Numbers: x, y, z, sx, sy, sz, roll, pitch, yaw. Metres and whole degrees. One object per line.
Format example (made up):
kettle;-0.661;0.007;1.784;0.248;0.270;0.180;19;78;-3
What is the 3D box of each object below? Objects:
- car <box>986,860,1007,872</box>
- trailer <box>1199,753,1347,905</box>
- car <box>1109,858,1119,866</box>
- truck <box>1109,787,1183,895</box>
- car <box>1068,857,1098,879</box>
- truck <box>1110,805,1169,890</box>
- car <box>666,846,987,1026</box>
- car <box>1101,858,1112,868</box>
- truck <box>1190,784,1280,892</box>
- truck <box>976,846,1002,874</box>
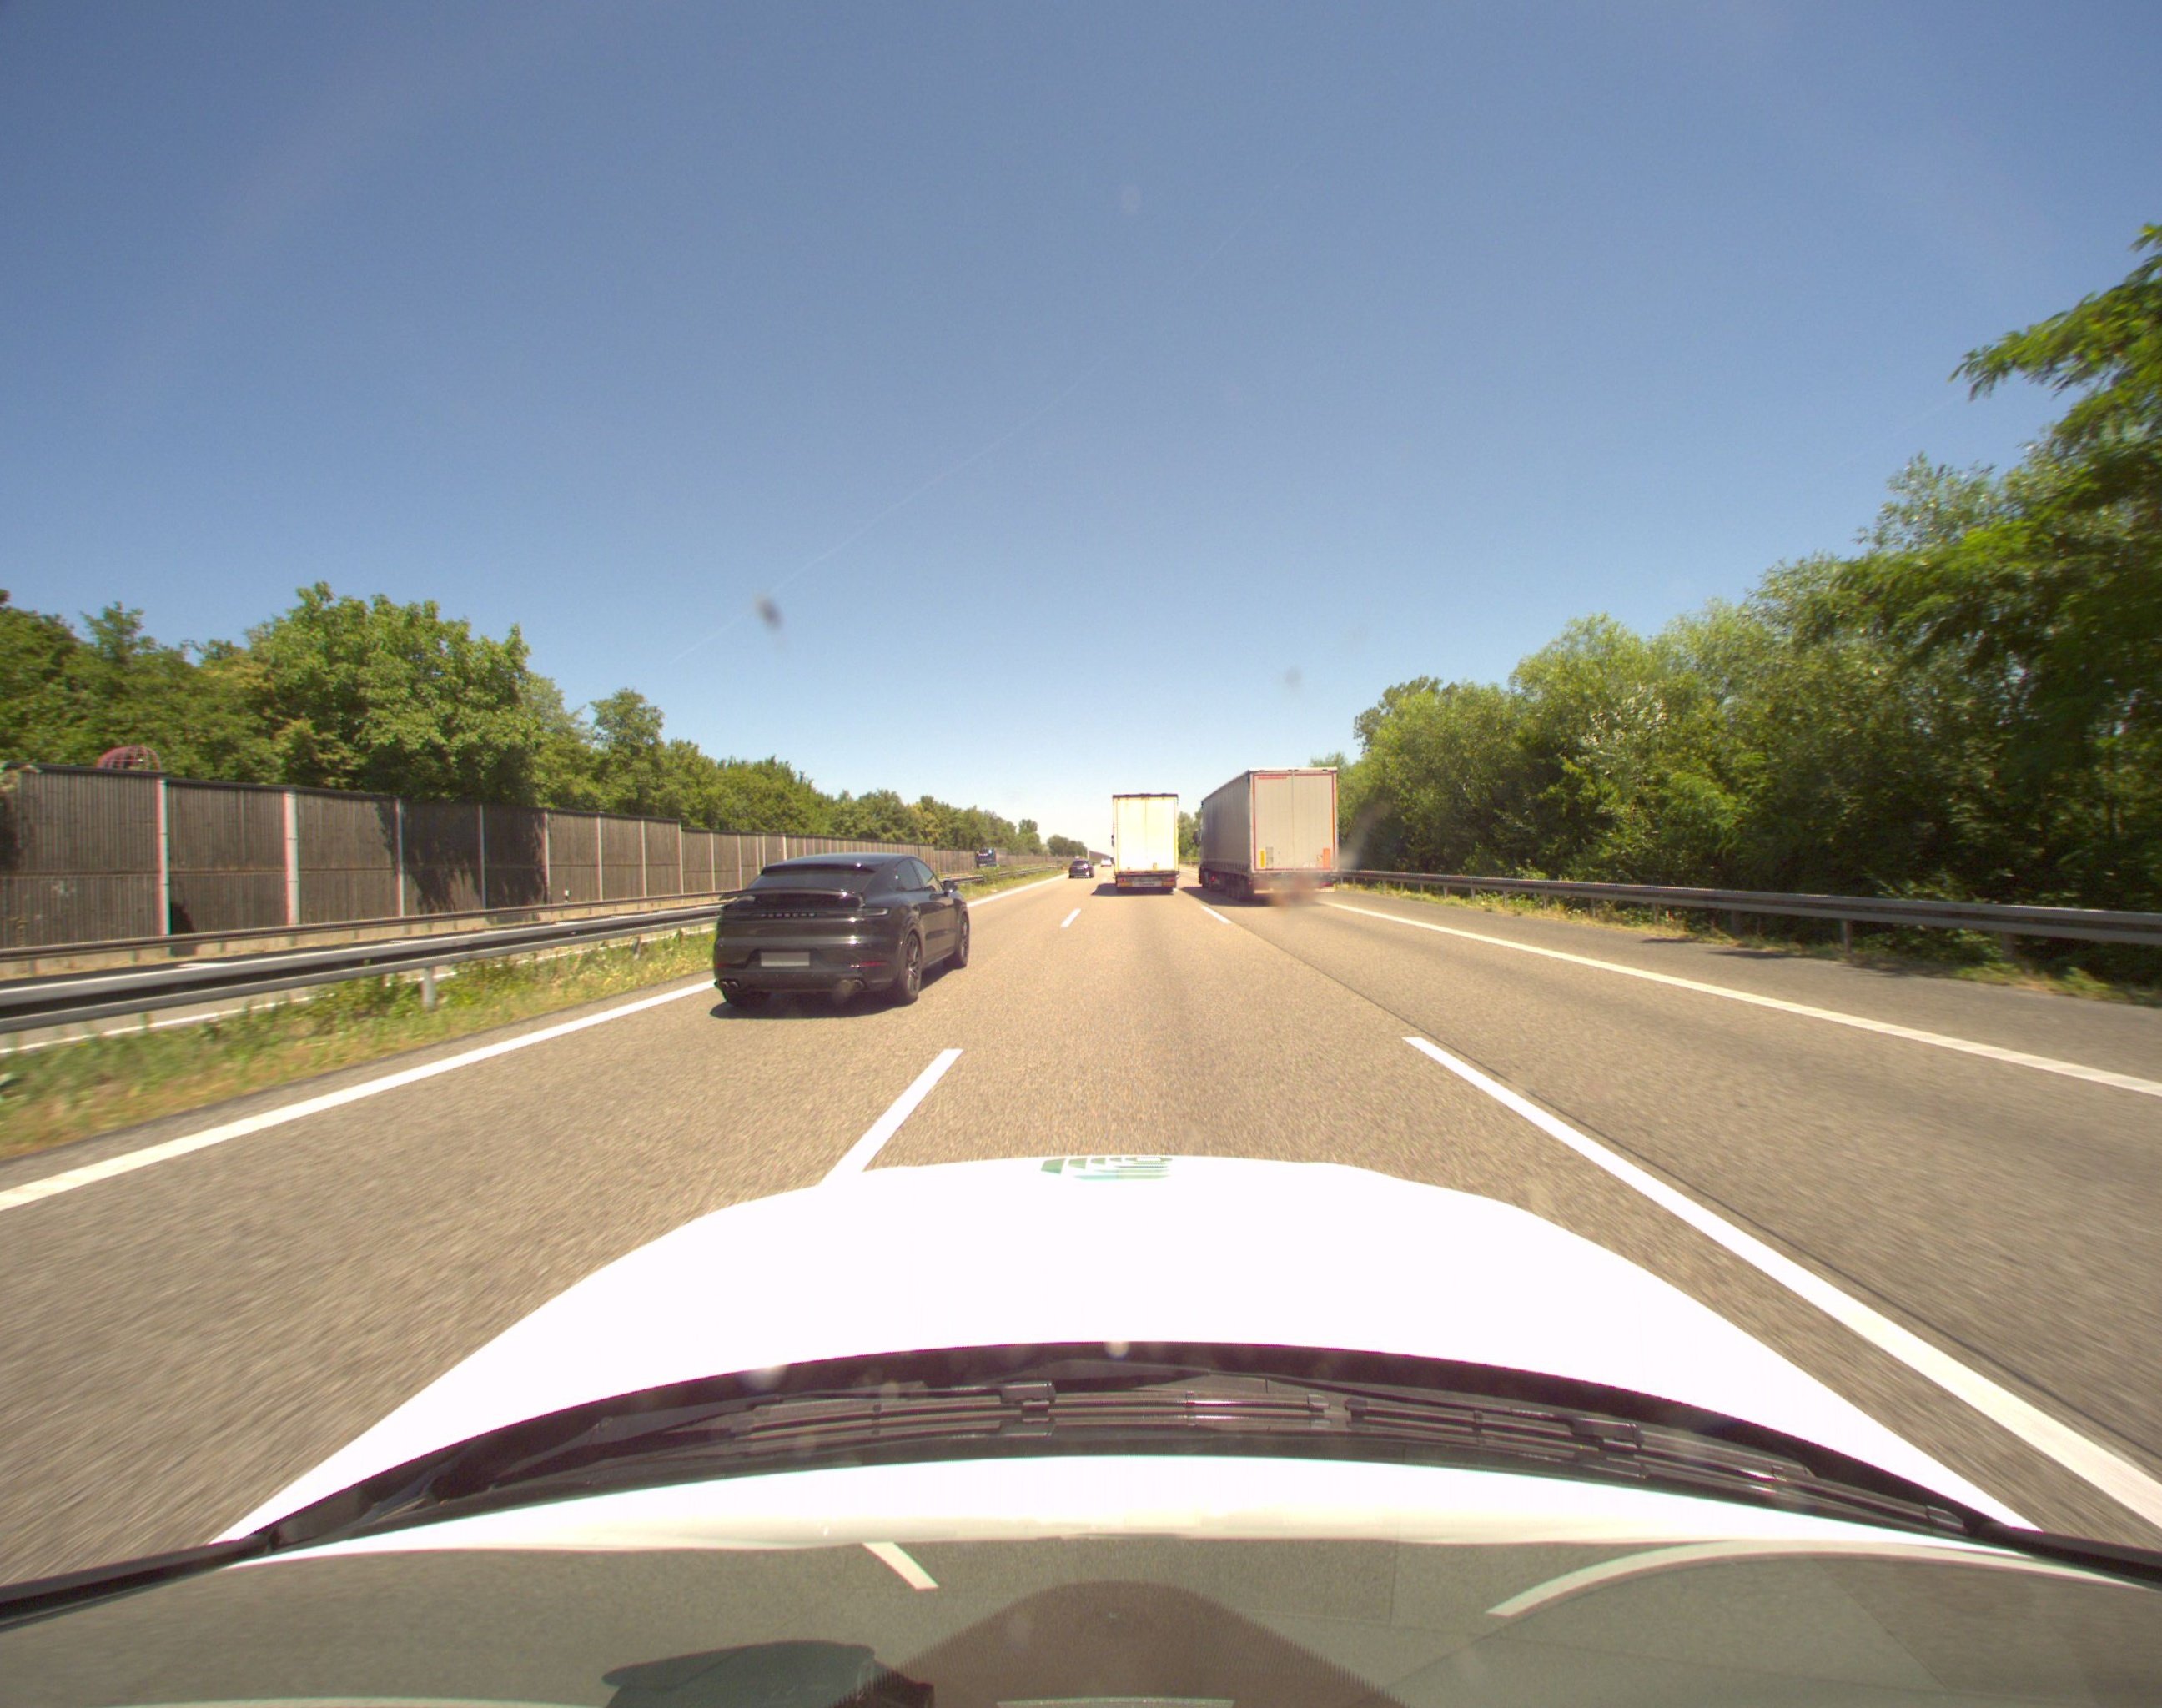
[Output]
car;-10.799;1.499;103.942;1.952;1.433;4.882;-3;0;2
trailer;6.416;-0.674;29.818;2.693;4.216;13.219;-3;0;2
car;7.405;1.725;182.949;1.849;1.617;4.000;-4;0;1
truck;2.819;-0.484;38.422;2.696;4.085;13.481;-3;0;2
car;0.221;1.086;65.117;1.935;1.506;5.827;-3;0;4
truck;3.071;-0.311;44.108;2.717;4.085;7.281;-3;0;2
car;-2.716;0.772;10.489;2.035;1.625;5.776;-2;0;3
car;4.493;1.544;142.373;1.847;1.486;4.003;-4;0;3
truck;6.722;-0.638;36.720;2.680;4.215;7.843;-3;0;2
truck;-14.131;0.917;125.645;2.717;4.085;7.843;-3;0;2
